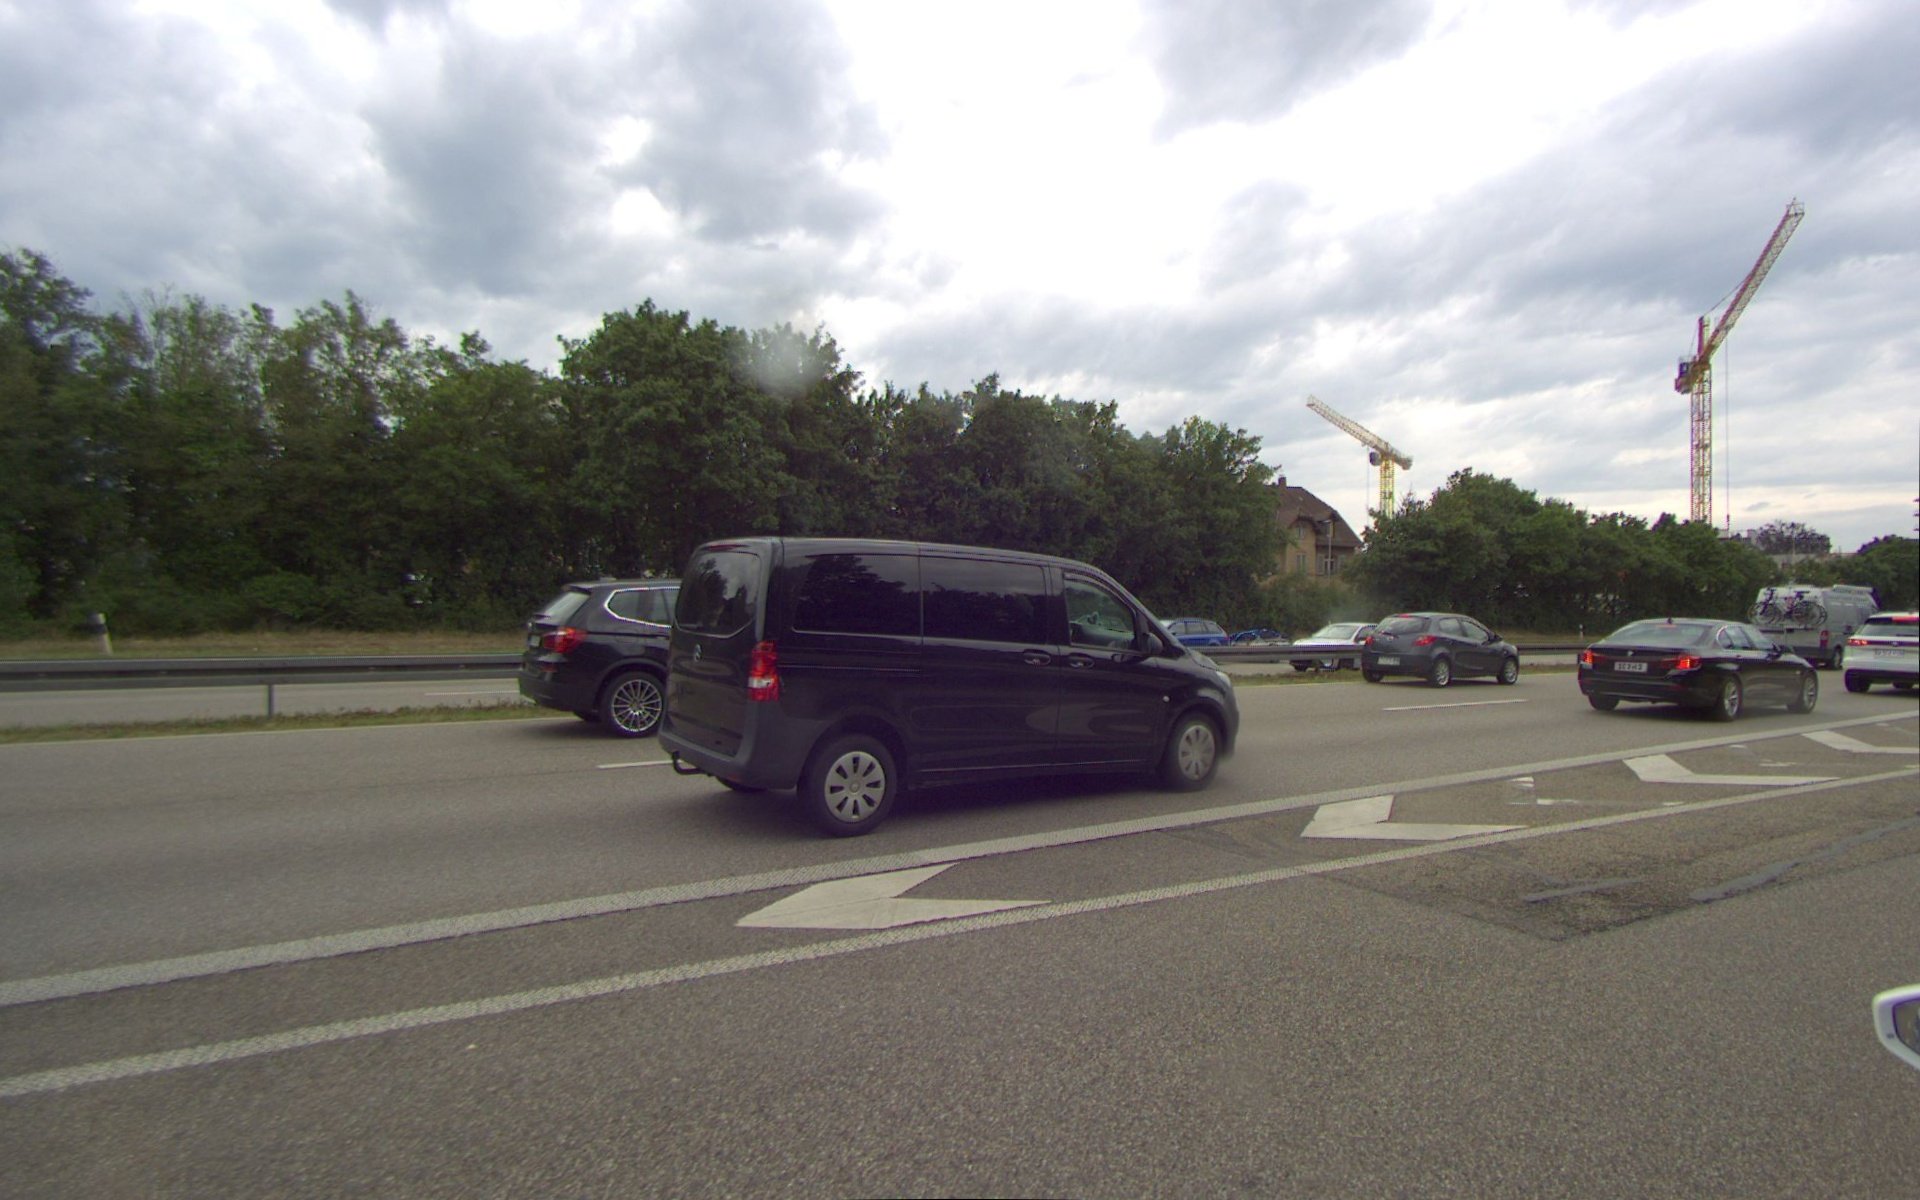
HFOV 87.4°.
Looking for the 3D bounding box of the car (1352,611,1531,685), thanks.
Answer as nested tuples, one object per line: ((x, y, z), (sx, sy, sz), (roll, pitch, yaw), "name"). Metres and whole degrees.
((10.159, 0.964, 21.104), (3.959, 1.407, 1.664), (1, -1, -35), "car")

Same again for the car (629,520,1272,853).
((0.130, 0.559, 8.071), (4.936, 1.923, 1.974), (2, -1, -36), "car")

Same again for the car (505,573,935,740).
((-2.729, 0.598, 11.856), (4.602, 1.635, 1.849), (1, -1, -33), "car")

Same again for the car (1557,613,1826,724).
((11.701, 1.027, 15.965), (4.778, 1.479, 1.837), (2, 0, -33), "car")

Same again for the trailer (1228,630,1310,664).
((10.598, 1.589, 34.408), (2.674, 1.073, 1.195), (1, -1, -30), "trailer")

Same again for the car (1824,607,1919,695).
((20.434, 1.038, 21.198), (4.810, 1.717, 1.946), (1, -1, -31), "car")

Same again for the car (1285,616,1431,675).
((11.594, 1.287, 29.256), (3.954, 1.576, 1.983), (1, -1, -31), "car")

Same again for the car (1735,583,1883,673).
((26.497, 0.858, 31.308), (5.301, 2.587, 1.983), (1, -1, -32), "car")
